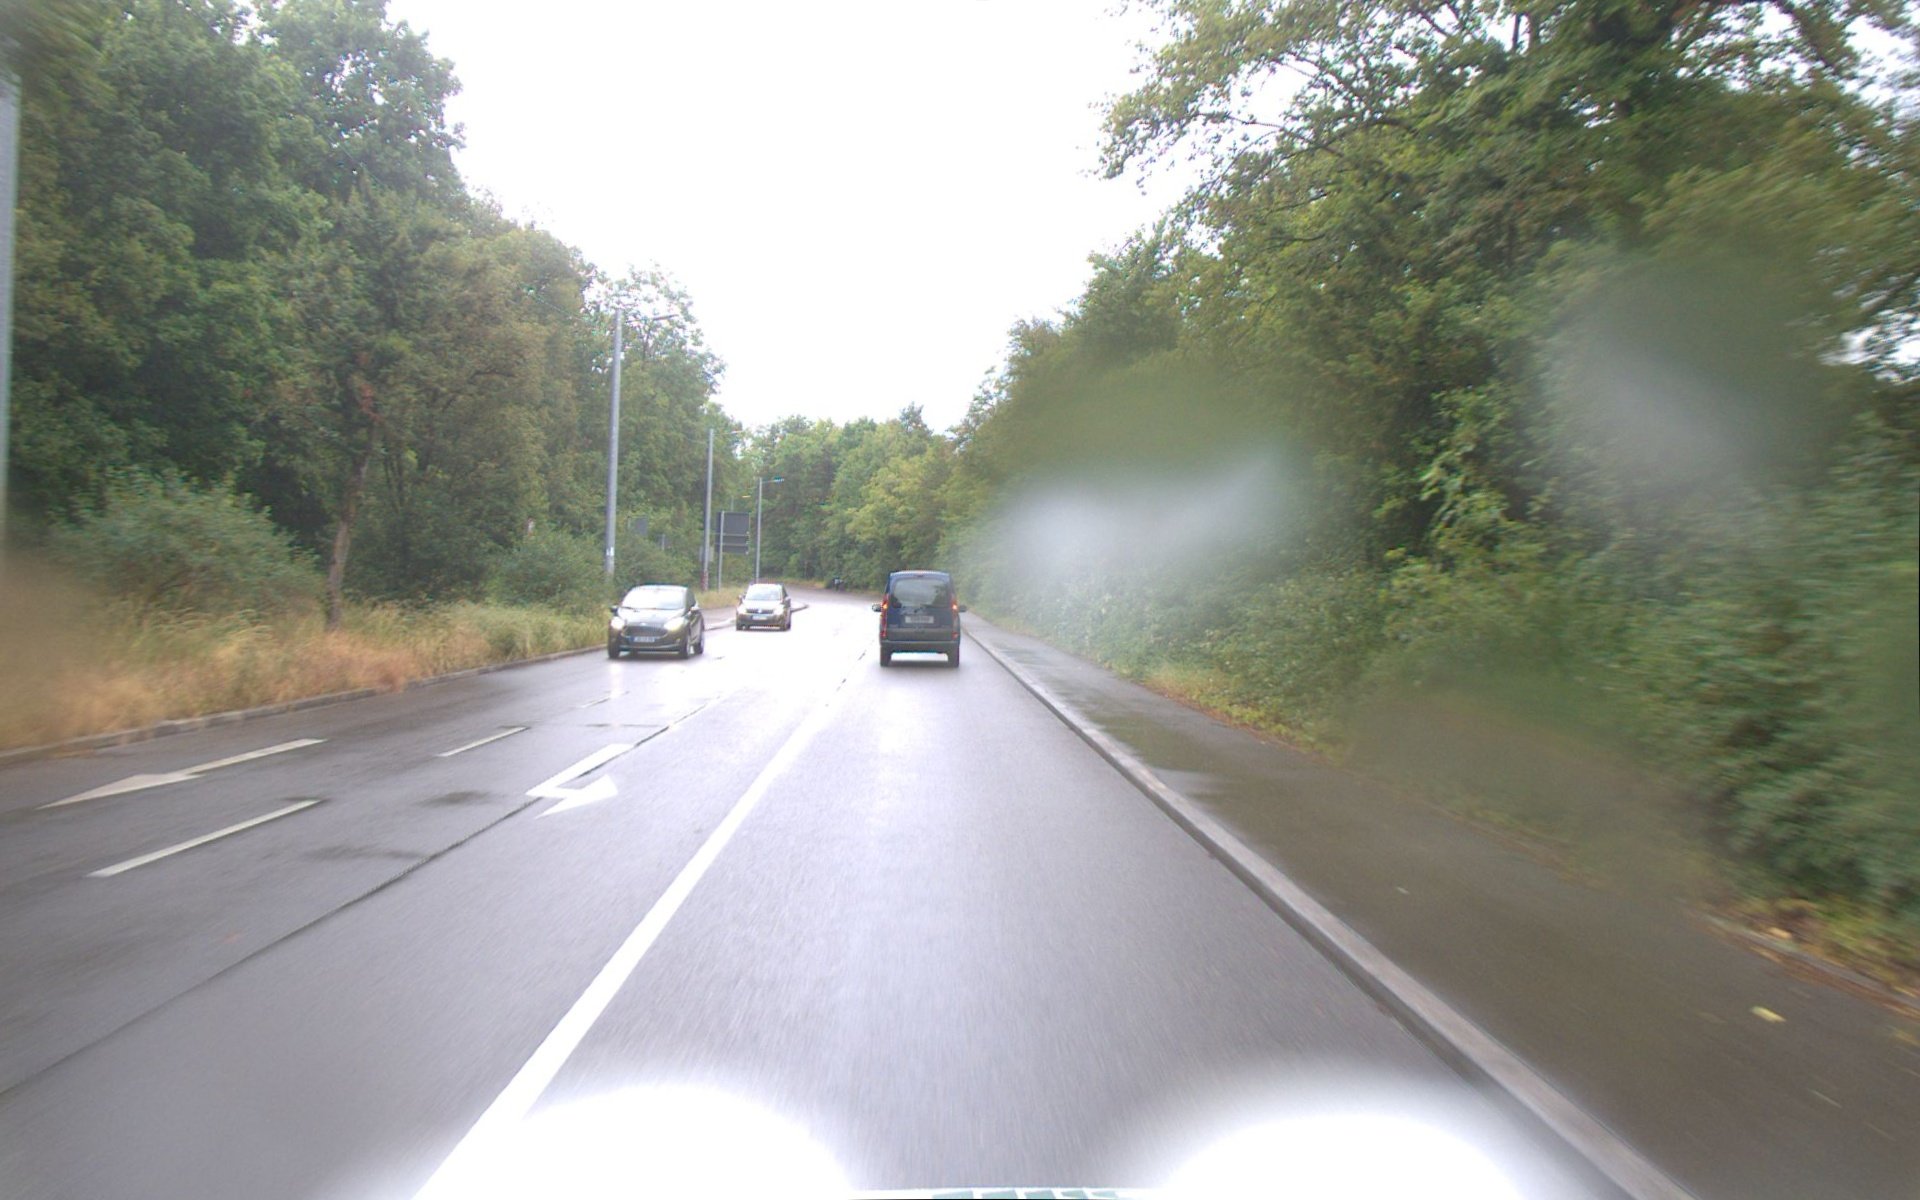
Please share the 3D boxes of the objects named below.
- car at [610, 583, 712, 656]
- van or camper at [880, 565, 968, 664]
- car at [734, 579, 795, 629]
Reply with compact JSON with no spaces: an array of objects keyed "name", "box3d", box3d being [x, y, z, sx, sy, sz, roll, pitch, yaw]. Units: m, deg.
[{"name":"car","box3d":[-6.277,0.369,35.054,1.566,1.466,3.989,0,1,-2]},{"name":"van or camper","box3d":[-0.764,0.235,33.831,1.678,1.857,3.999,0,2,-2]},{"name":"car","box3d":[-6.896,0.114,58.669,1.736,1.638,4.082,2,0,-1]}]
